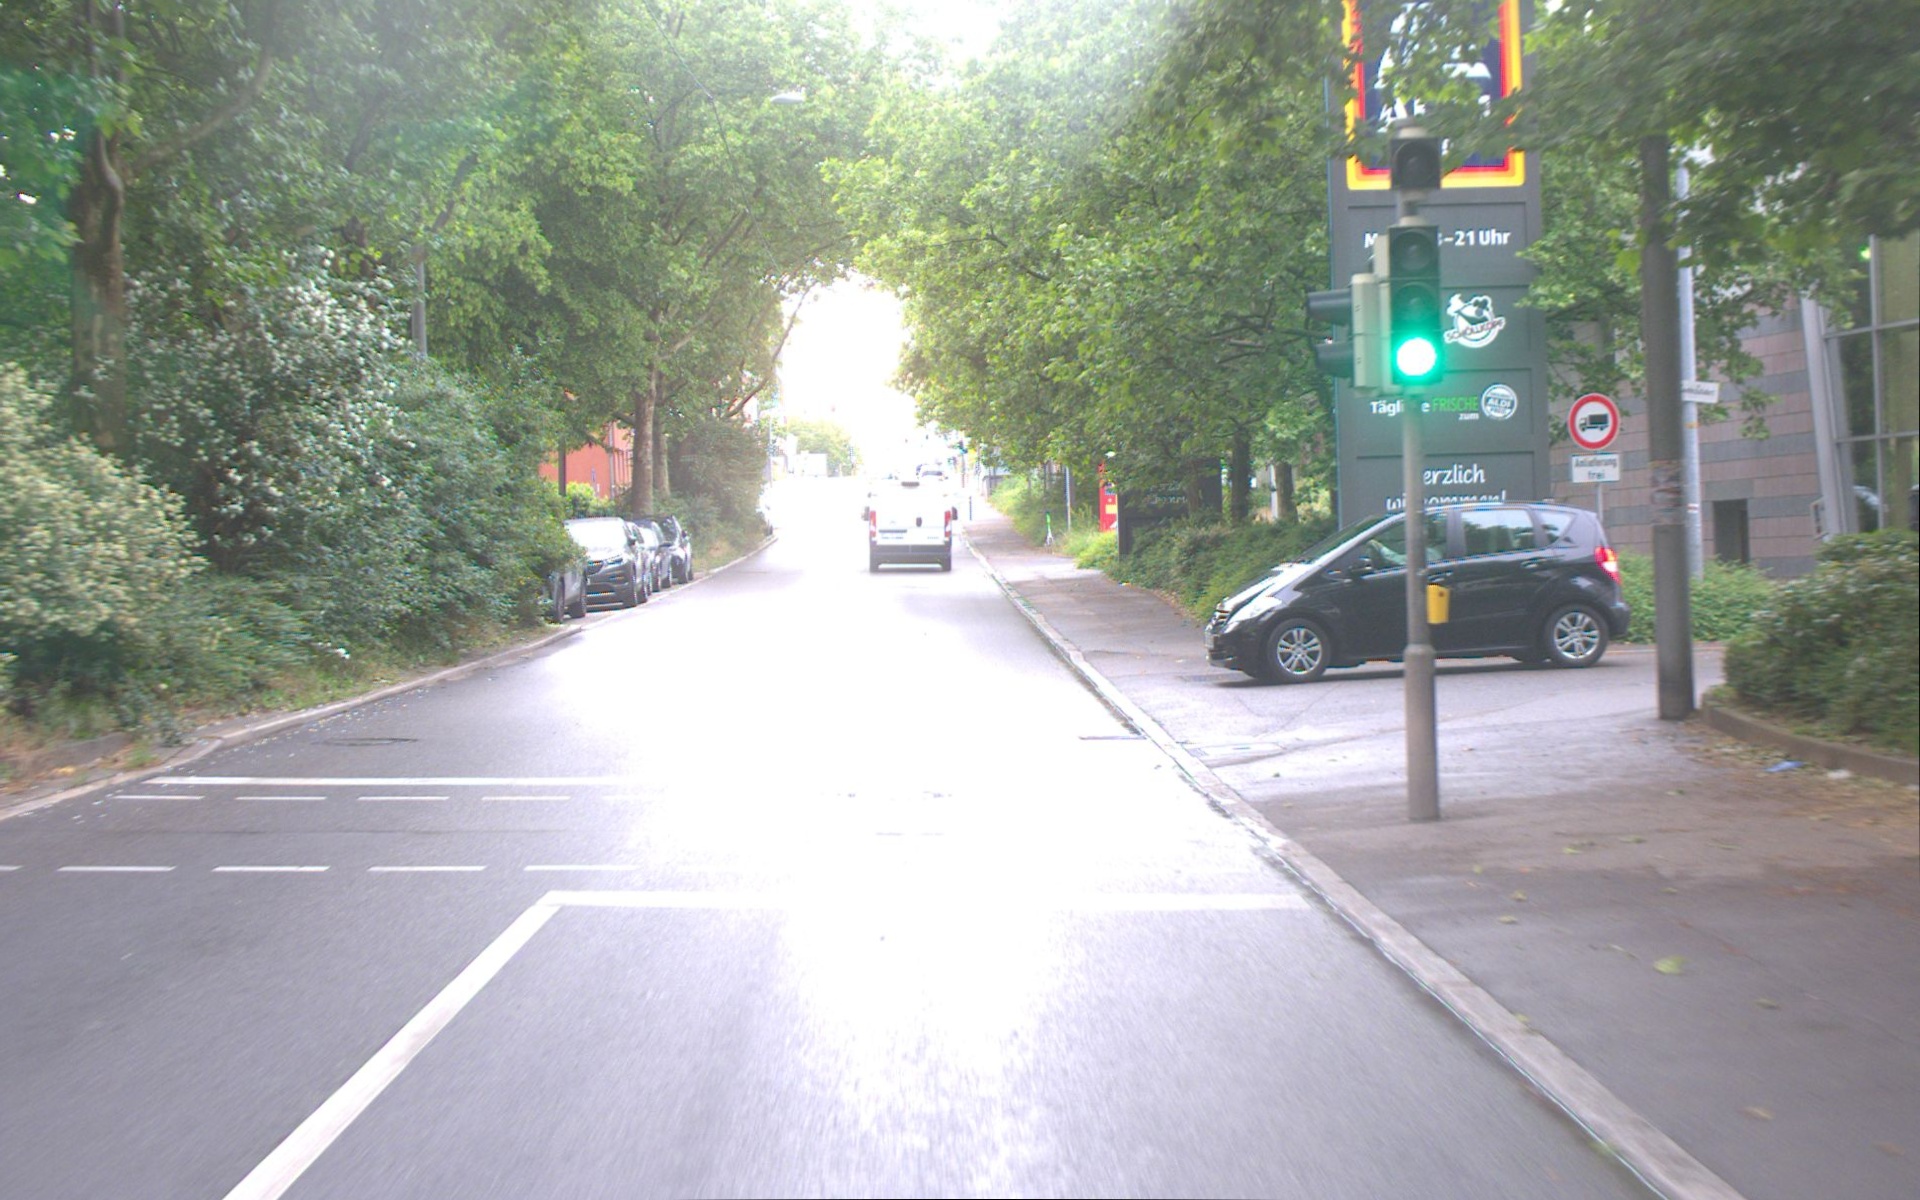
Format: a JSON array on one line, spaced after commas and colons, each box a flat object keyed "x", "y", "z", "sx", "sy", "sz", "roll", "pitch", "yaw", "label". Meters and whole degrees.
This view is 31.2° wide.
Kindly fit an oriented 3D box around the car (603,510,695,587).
[{"x": -6.886, "y": -1.168, "z": 76.443, "sx": 1.647, "sy": 1.532, "sz": 4.019, "roll": -5, "pitch": 2, "yaw": -1, "label": "car"}]

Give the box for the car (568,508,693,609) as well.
[{"x": -5.741, "y": -0.752, "z": 60.279, "sx": 1.864, "sy": 1.585, "sz": 4.240, "roll": -3, "pitch": 2, "yaw": -2, "label": "car"}]

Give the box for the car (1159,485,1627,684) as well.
[{"x": 3.959, "y": -0.167, "z": 31.831, "sx": 3.848, "sy": 1.542, "sz": 2.027, "roll": -4, "pitch": 2, "yaw": -6, "label": "car"}]

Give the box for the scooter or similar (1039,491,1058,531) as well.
[{"x": 2.590, "y": -2.615, "z": 100.985, "sx": 0.425, "sy": 1.138, "sz": 1.529, "roll": 1, "pitch": 0, "yaw": -3, "label": "scooter or similar"}]

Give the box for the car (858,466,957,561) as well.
[{"x": -1.284, "y": -2.124, "z": 85.408, "sx": 2.336, "sy": 2.223, "sz": 4.000, "roll": -2, "pitch": 1, "yaw": 0, "label": "car"}]

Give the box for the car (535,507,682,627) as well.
[{"x": -5.586, "y": -0.568, "z": 55.107, "sx": 1.734, "sy": 1.651, "sz": 4.564, "roll": -5, "pitch": 2, "yaw": 1, "label": "car"}]

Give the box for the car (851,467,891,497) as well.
[{"x": -5.596, "y": -7.426, "z": 216.358, "sx": 2.159, "sy": 1.703, "sz": 3.873, "roll": 1, "pitch": 0, "yaw": 3, "label": "car"}]

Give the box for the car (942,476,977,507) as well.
[{"x": -0.020, "y": -6.568, "z": 208.545, "sx": 1.930, "sy": 1.703, "sz": 3.873, "roll": 1, "pitch": 0, "yaw": 3, "label": "car"}]
